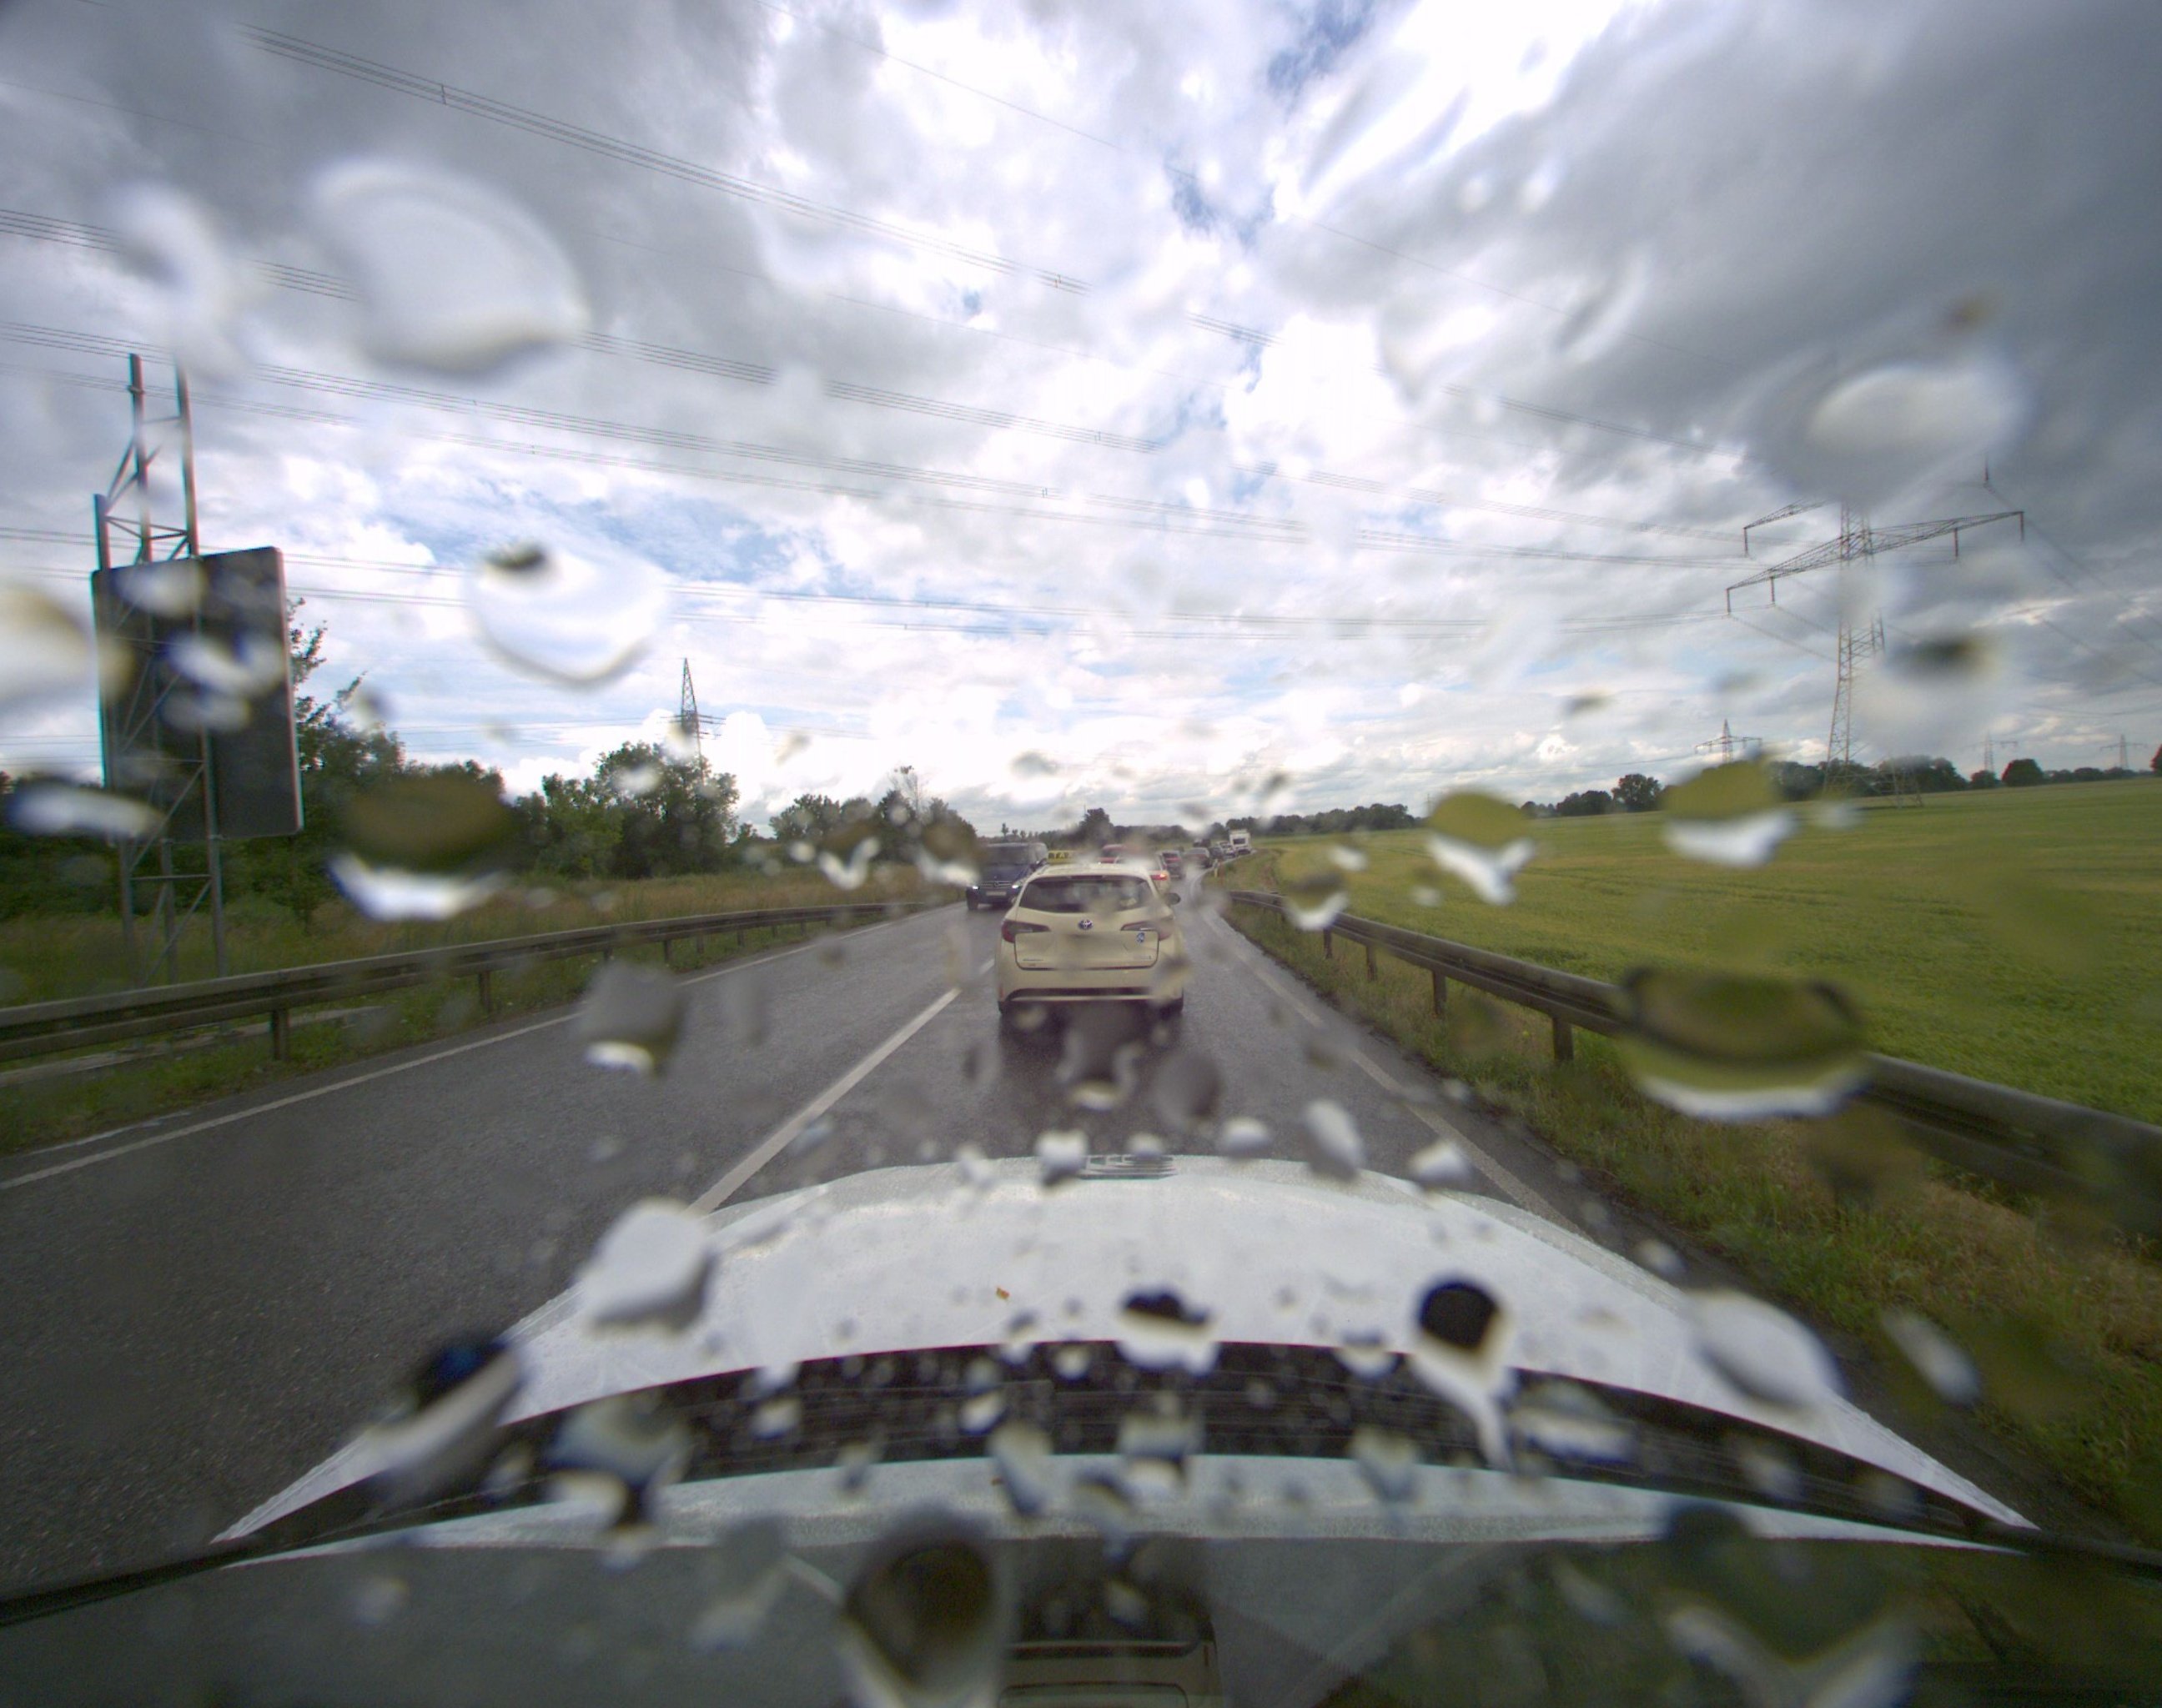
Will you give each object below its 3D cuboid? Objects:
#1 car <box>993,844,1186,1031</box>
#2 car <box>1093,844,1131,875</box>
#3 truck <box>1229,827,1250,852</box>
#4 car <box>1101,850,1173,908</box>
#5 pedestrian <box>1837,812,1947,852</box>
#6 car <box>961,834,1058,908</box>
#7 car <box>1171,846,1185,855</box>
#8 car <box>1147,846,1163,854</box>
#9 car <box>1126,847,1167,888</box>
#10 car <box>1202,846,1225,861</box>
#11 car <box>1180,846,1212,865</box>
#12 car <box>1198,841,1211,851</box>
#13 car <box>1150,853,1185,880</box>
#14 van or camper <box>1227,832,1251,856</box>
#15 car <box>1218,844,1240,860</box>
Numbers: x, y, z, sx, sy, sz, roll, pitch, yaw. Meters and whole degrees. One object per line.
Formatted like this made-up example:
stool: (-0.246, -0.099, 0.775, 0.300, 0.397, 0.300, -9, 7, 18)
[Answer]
car: (0.139, 0.721, 8.732, 1.606, 1.562, 3.740, -1, -1, 2)
car: (2.027, 0.360, 51.520, 1.790, 1.850, 4.532, -2, -1, 9)
truck: (25.559, -2.273, 131.896, 3.108, 3.852, 7.406, -1, -1, 10)
car: (1.748, 0.659, 23.881, 1.831, 1.492, 4.618, -1, 1, 7)
pedestrian: (43.878, -1.131, 44.195, 1.986, 2.014, 4.000, -1, -1, 1)
car: (-2.043, 0.488, 24.784, 1.952, 2.014, 4.869, -1, -1, 7)
car: (21.744, -0.770, 182.340, 1.995, 1.767, 4.090, 0, -1, -12)
car: (17.701, -0.937, 194.948, 1.920, 2.014, 4.100, 0, -1, -23)
car: (2.841, 0.551, 34.669, 1.604, 1.659, 3.745, -1, -1, 6)
car: (12.753, -0.012, 78.336, 1.812, 1.413, 3.753, -1, -1, 15)
car: (8.773, 0.120, 61.956, 1.946, 1.413, 4.409, -1, -1, 14)
car: (25.015, -1.561, 165.044, 1.737, 2.014, 4.138, 0, -1, -6)
car: (4.709, 0.661, 43.918, 1.603, 1.413, 3.749, -1, -1, 10)
van or camper: (20.137, -1.244, 103.544, 2.517, 2.896, 6.771, -1, 1, 16)
car: (16.189, -0.193, 89.193, 1.945, 1.729, 3.754, -1, -1, 17)
